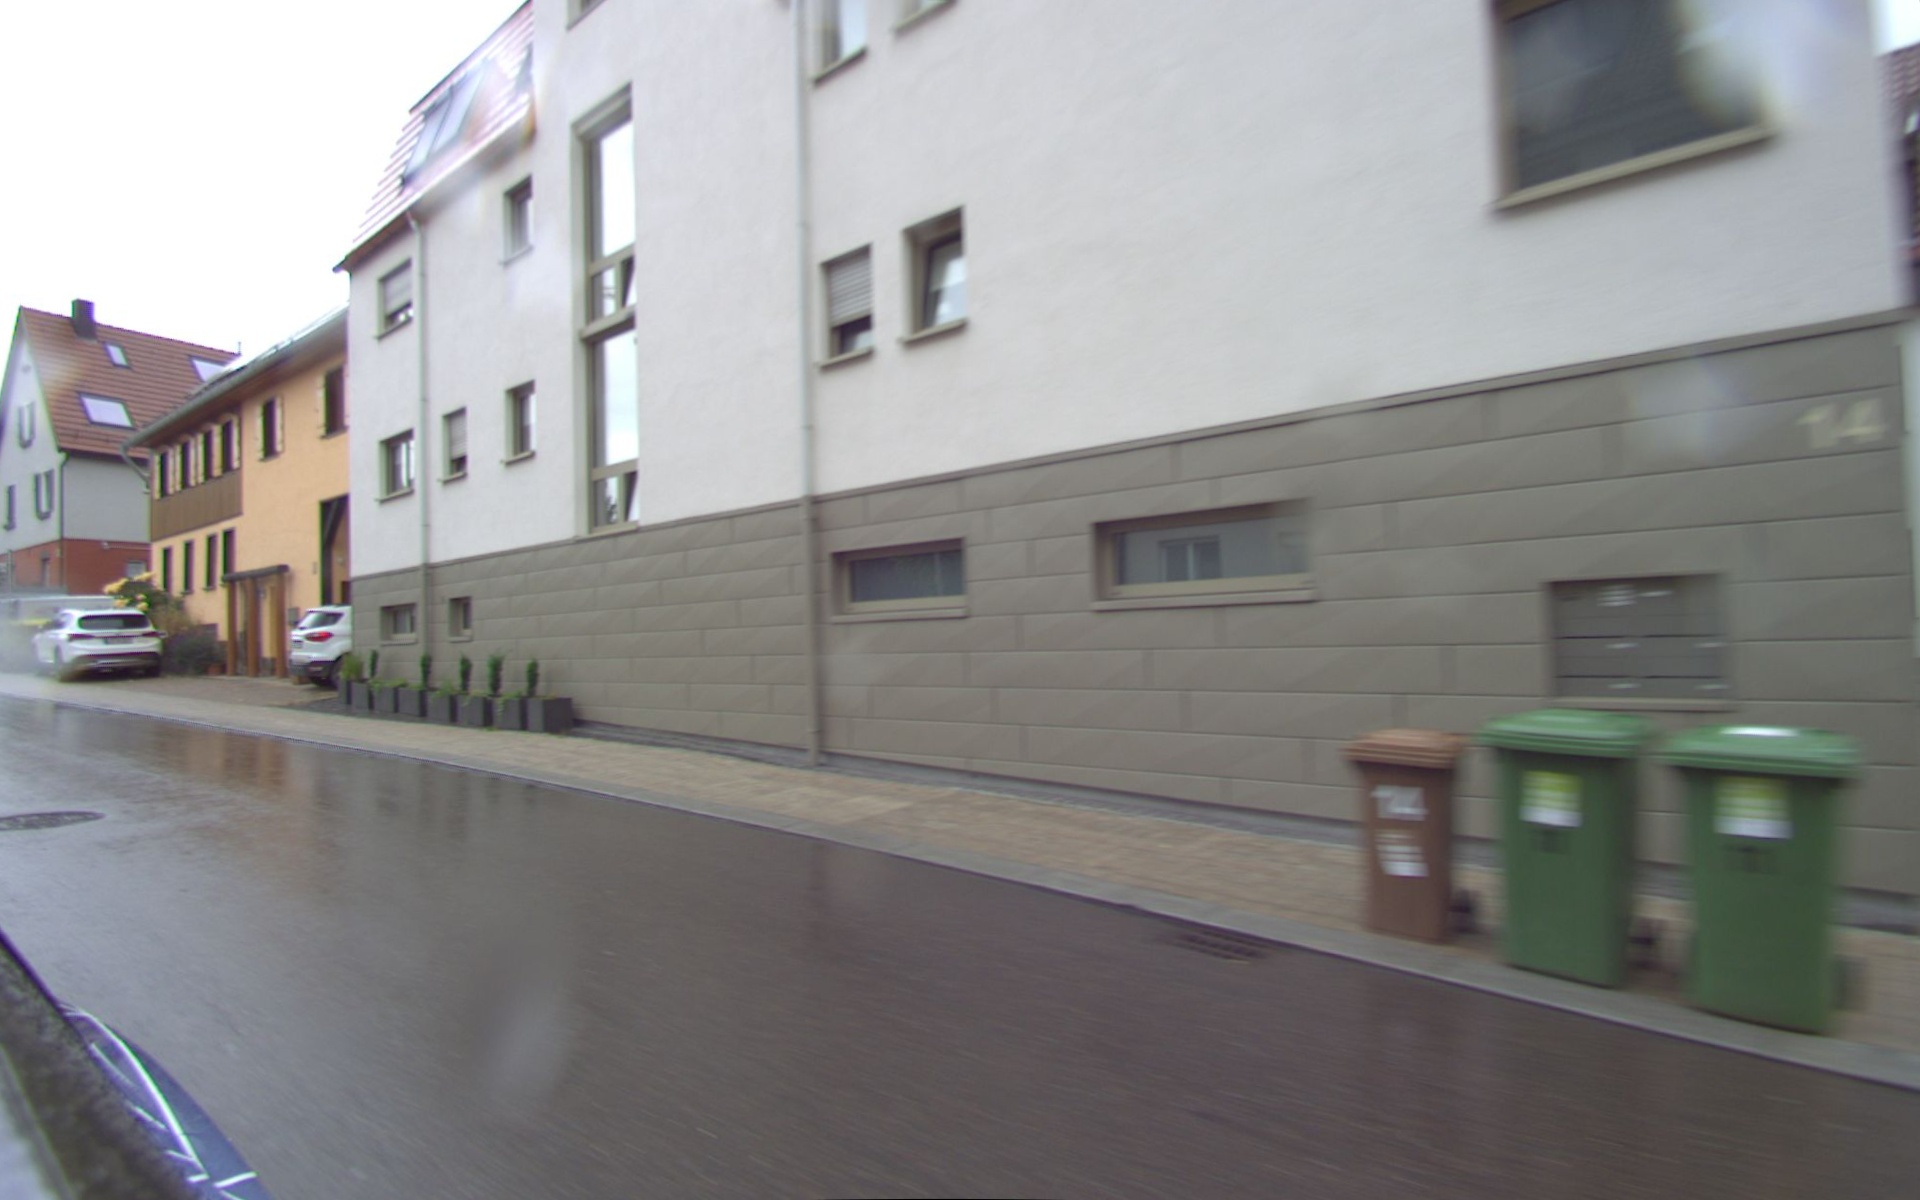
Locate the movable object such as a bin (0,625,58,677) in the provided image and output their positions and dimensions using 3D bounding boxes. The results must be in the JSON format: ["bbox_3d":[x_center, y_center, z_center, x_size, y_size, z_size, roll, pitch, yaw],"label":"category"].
[{"bbox_3d":[-25.518,1.371,27.479,0.993,1.378,1.276,-1,-2,32],"label":"movable object such as a bin"}]

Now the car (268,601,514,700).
[{"bbox_3d":[-11.579,0.946,20.820,1.875,1.682,3.952,-1,1,36],"label":"car"}]

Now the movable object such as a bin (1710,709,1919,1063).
[{"bbox_3d":[3.169,0.967,3.648,0.661,1.053,0.674,-1,-1,43],"label":"movable object such as a bin"}]

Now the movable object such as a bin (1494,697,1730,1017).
[{"bbox_3d":[2.682,0.979,4.162,0.695,1.074,0.674,-1,-1,43],"label":"movable object such as a bin"}]

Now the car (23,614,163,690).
[{"bbox_3d":[-21.358,1.231,24.879,4.612,1.719,1.796,-2,-2,39],"label":"car"}]

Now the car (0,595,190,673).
[{"bbox_3d":[-26.272,0.977,30.433,1.990,1.994,4.483,-3,1,26],"label":"car"}]

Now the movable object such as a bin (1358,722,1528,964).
[{"bbox_3d":[2.210,1.065,4.633,0.579,0.929,0.501,-1,-1,41],"label":"movable object such as a bin"}]
